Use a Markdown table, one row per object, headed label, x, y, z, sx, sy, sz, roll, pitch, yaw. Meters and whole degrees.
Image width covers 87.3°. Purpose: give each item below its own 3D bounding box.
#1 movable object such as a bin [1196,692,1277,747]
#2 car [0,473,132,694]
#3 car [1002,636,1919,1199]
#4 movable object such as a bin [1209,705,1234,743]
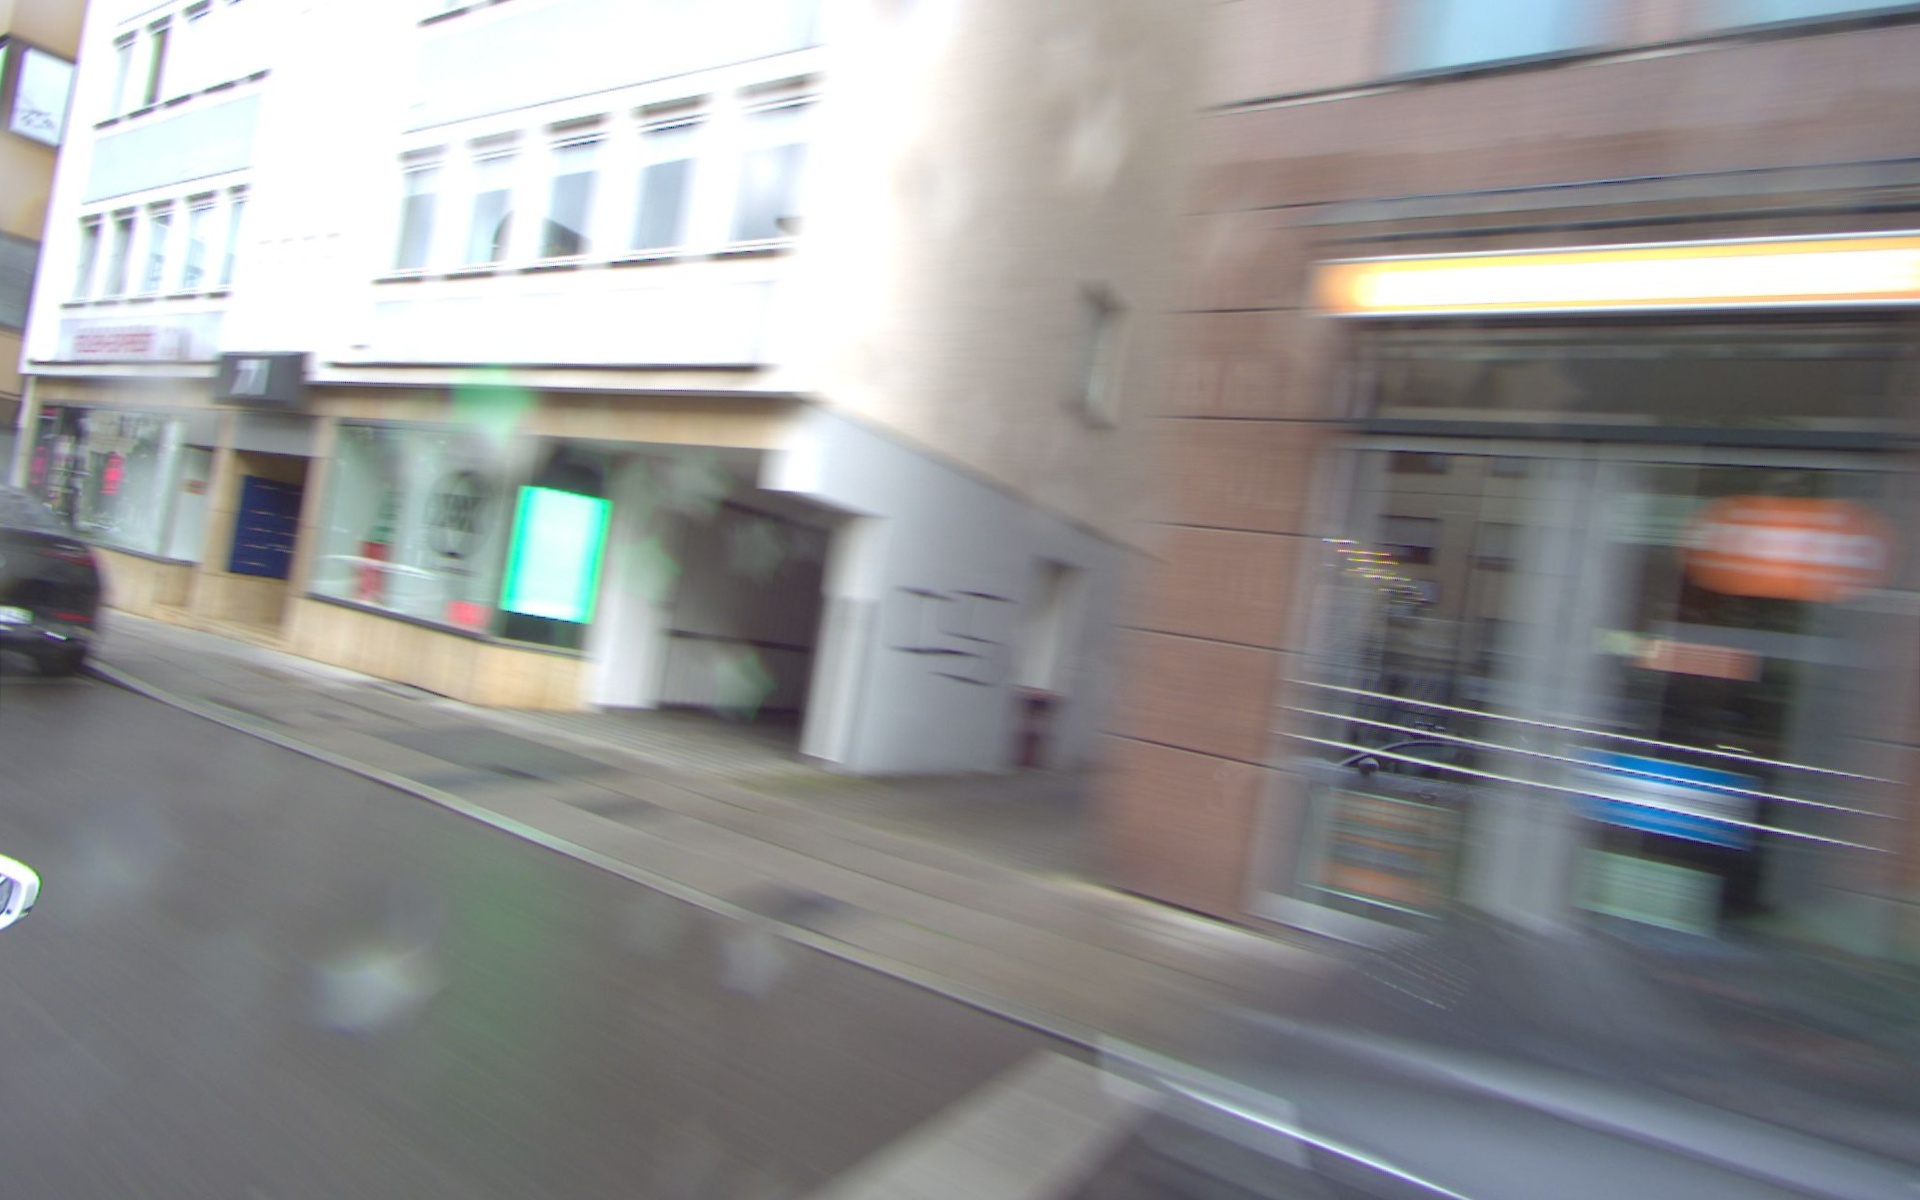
| label | x | y | z | sx | sy | sz | roll | pitch | yaw |
| --- | --- | --- | --- | --- | --- | --- | --- | --- | --- |
| movable object such as a bin | 9.123 | 3.951 | 33.029 | 1.556 | 1.458 | 3.515 | 7 | -3 | 31 |
| car | -9.523 | -0.403 | 8.803 | 5.083 | 1.650 | 1.811 | 7 | -2 | 31 |
| car | 2.491 | 1.128 | 1.485 | 4.530 | 1.485 | 1.779 | 7 | -2 | 29 |
| movable object such as a bin | 8.080 | 3.831 | 31.050 | 0.515 | 1.088 | 0.604 | 7 | -2 | 24 |
